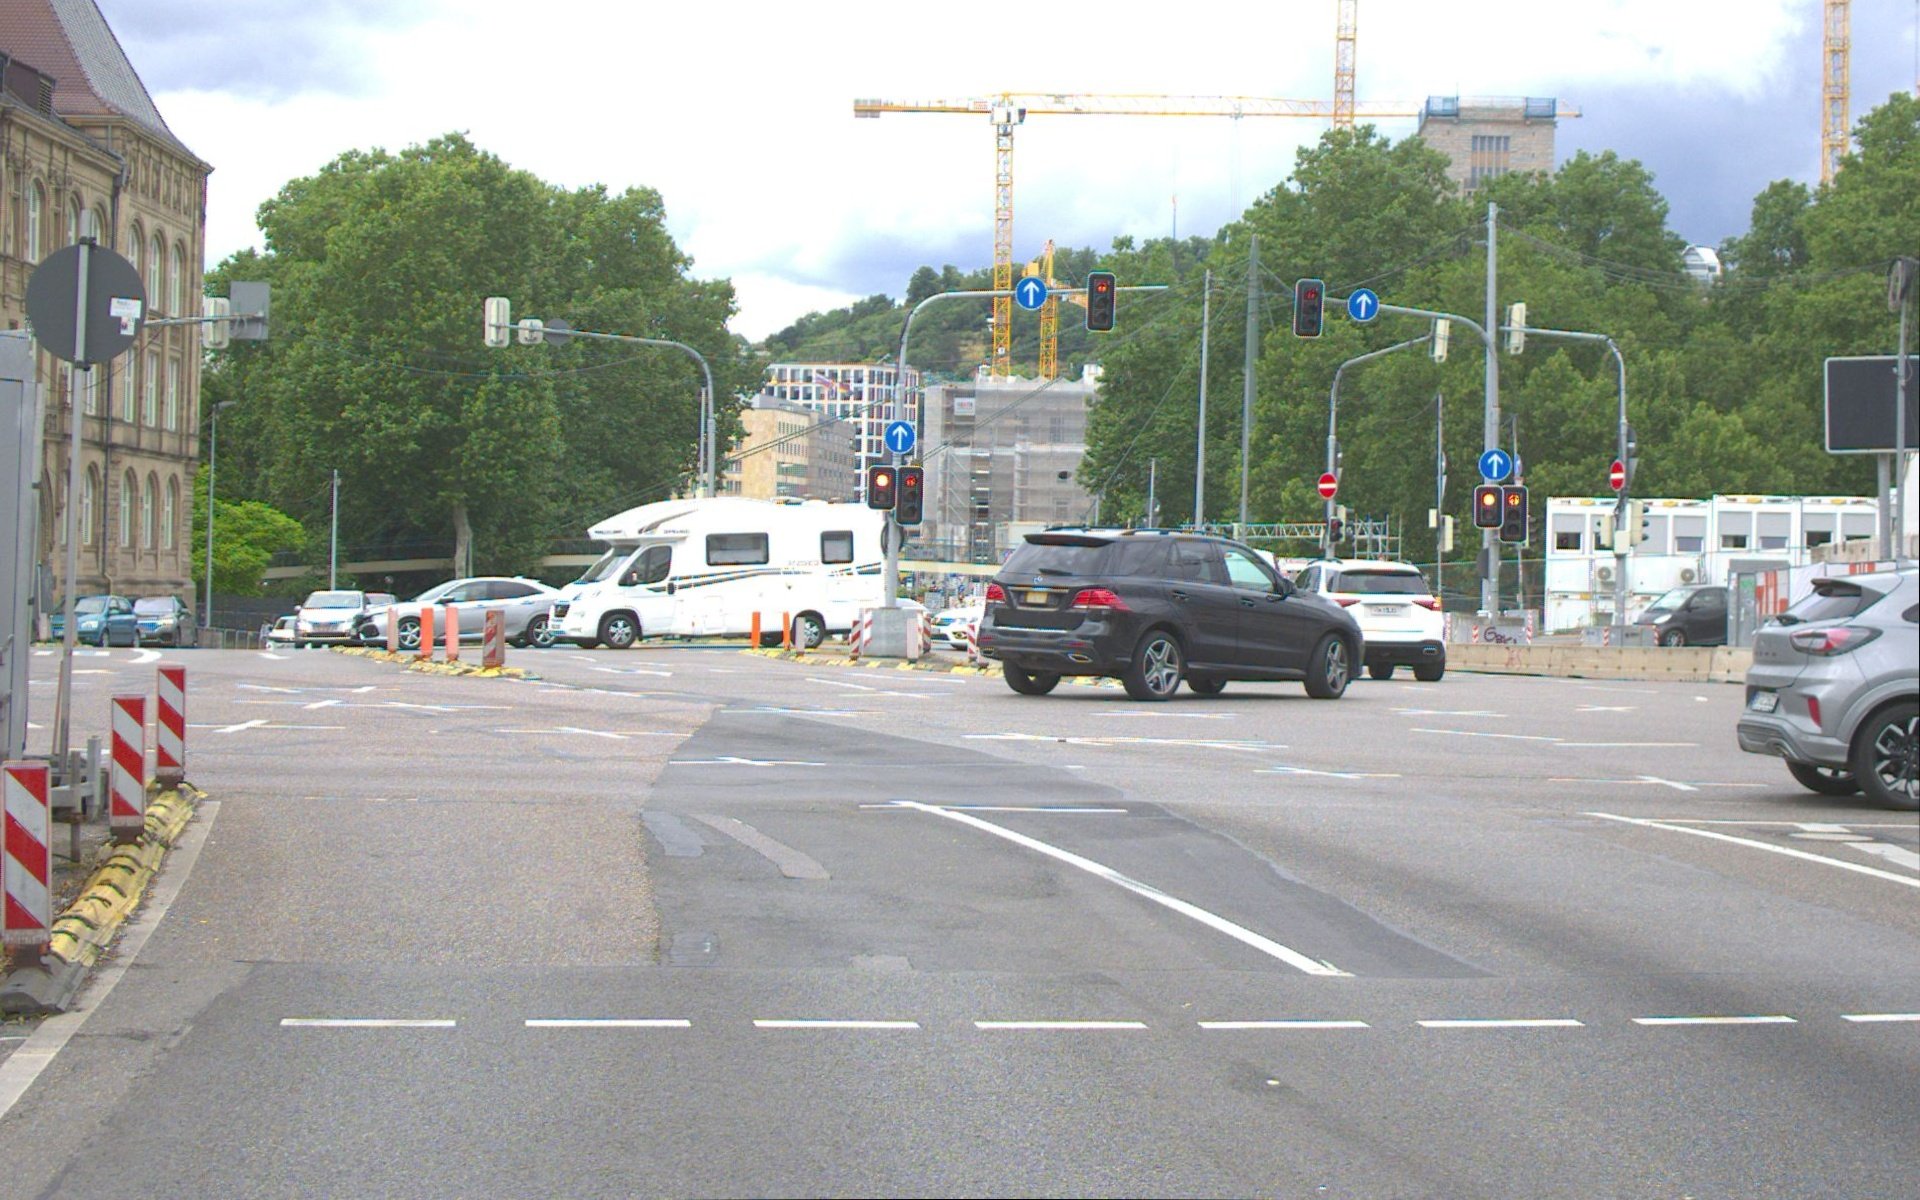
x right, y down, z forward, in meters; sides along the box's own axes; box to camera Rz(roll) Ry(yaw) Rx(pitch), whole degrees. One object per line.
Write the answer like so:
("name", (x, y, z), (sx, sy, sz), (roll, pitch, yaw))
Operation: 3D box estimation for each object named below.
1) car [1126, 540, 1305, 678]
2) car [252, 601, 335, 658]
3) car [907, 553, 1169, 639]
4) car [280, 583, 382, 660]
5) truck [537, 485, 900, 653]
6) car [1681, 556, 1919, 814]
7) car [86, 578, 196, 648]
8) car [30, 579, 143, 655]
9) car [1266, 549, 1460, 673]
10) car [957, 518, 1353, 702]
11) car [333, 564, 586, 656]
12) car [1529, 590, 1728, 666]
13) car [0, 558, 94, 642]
("car", (3.535, 0.100, 48.347), (1.863, 1.827, 4.723), (1, 1, -3))
("car", (-22.628, 0.973, 116.870), (1.993, 1.831, 4.000), (1, 1, 1))
("car", (1.672, -0.089, 73.716), (5.168, 1.779, 2.165), (1, 1, -23))
("car", (-15.654, 0.506, 85.771), (1.993, 1.831, 4.001), (1, 1, -3))
("truck", (-4.691, -0.573, 66.924), (6.580, 3.135, 2.368), (1, 0, -23))
("car", (6.927, 0.519, 21.650), (4.294, 1.534, 2.000), (1, 0, -2))
("car", (-22.345, 0.331, 93.968), (1.993, 1.831, 4.000), (1, 1, 1))
("car", (-21.993, 0.409, 86.720), (1.993, 1.831, 4.001), (1, 1, -3))
("car", (5.973, 0.131, 51.512), (1.993, 1.753, 4.506), (1, 1, -5))
("car", (2.119, 0.084, 36.363), (1.998, 1.828, 4.247), (1, 1, 40))
("car", (-9.908, 0.197, 68.102), (4.564, 1.769, 2.000), (1, 1, -25))
("car", (15.390, 0.652, 79.197), (3.986, 1.678, 2.001), (1, 1, -18))
("car", (-20.964, -0.026, 77.621), (1.993, 1.831, 4.001), (1, 1, -3))
